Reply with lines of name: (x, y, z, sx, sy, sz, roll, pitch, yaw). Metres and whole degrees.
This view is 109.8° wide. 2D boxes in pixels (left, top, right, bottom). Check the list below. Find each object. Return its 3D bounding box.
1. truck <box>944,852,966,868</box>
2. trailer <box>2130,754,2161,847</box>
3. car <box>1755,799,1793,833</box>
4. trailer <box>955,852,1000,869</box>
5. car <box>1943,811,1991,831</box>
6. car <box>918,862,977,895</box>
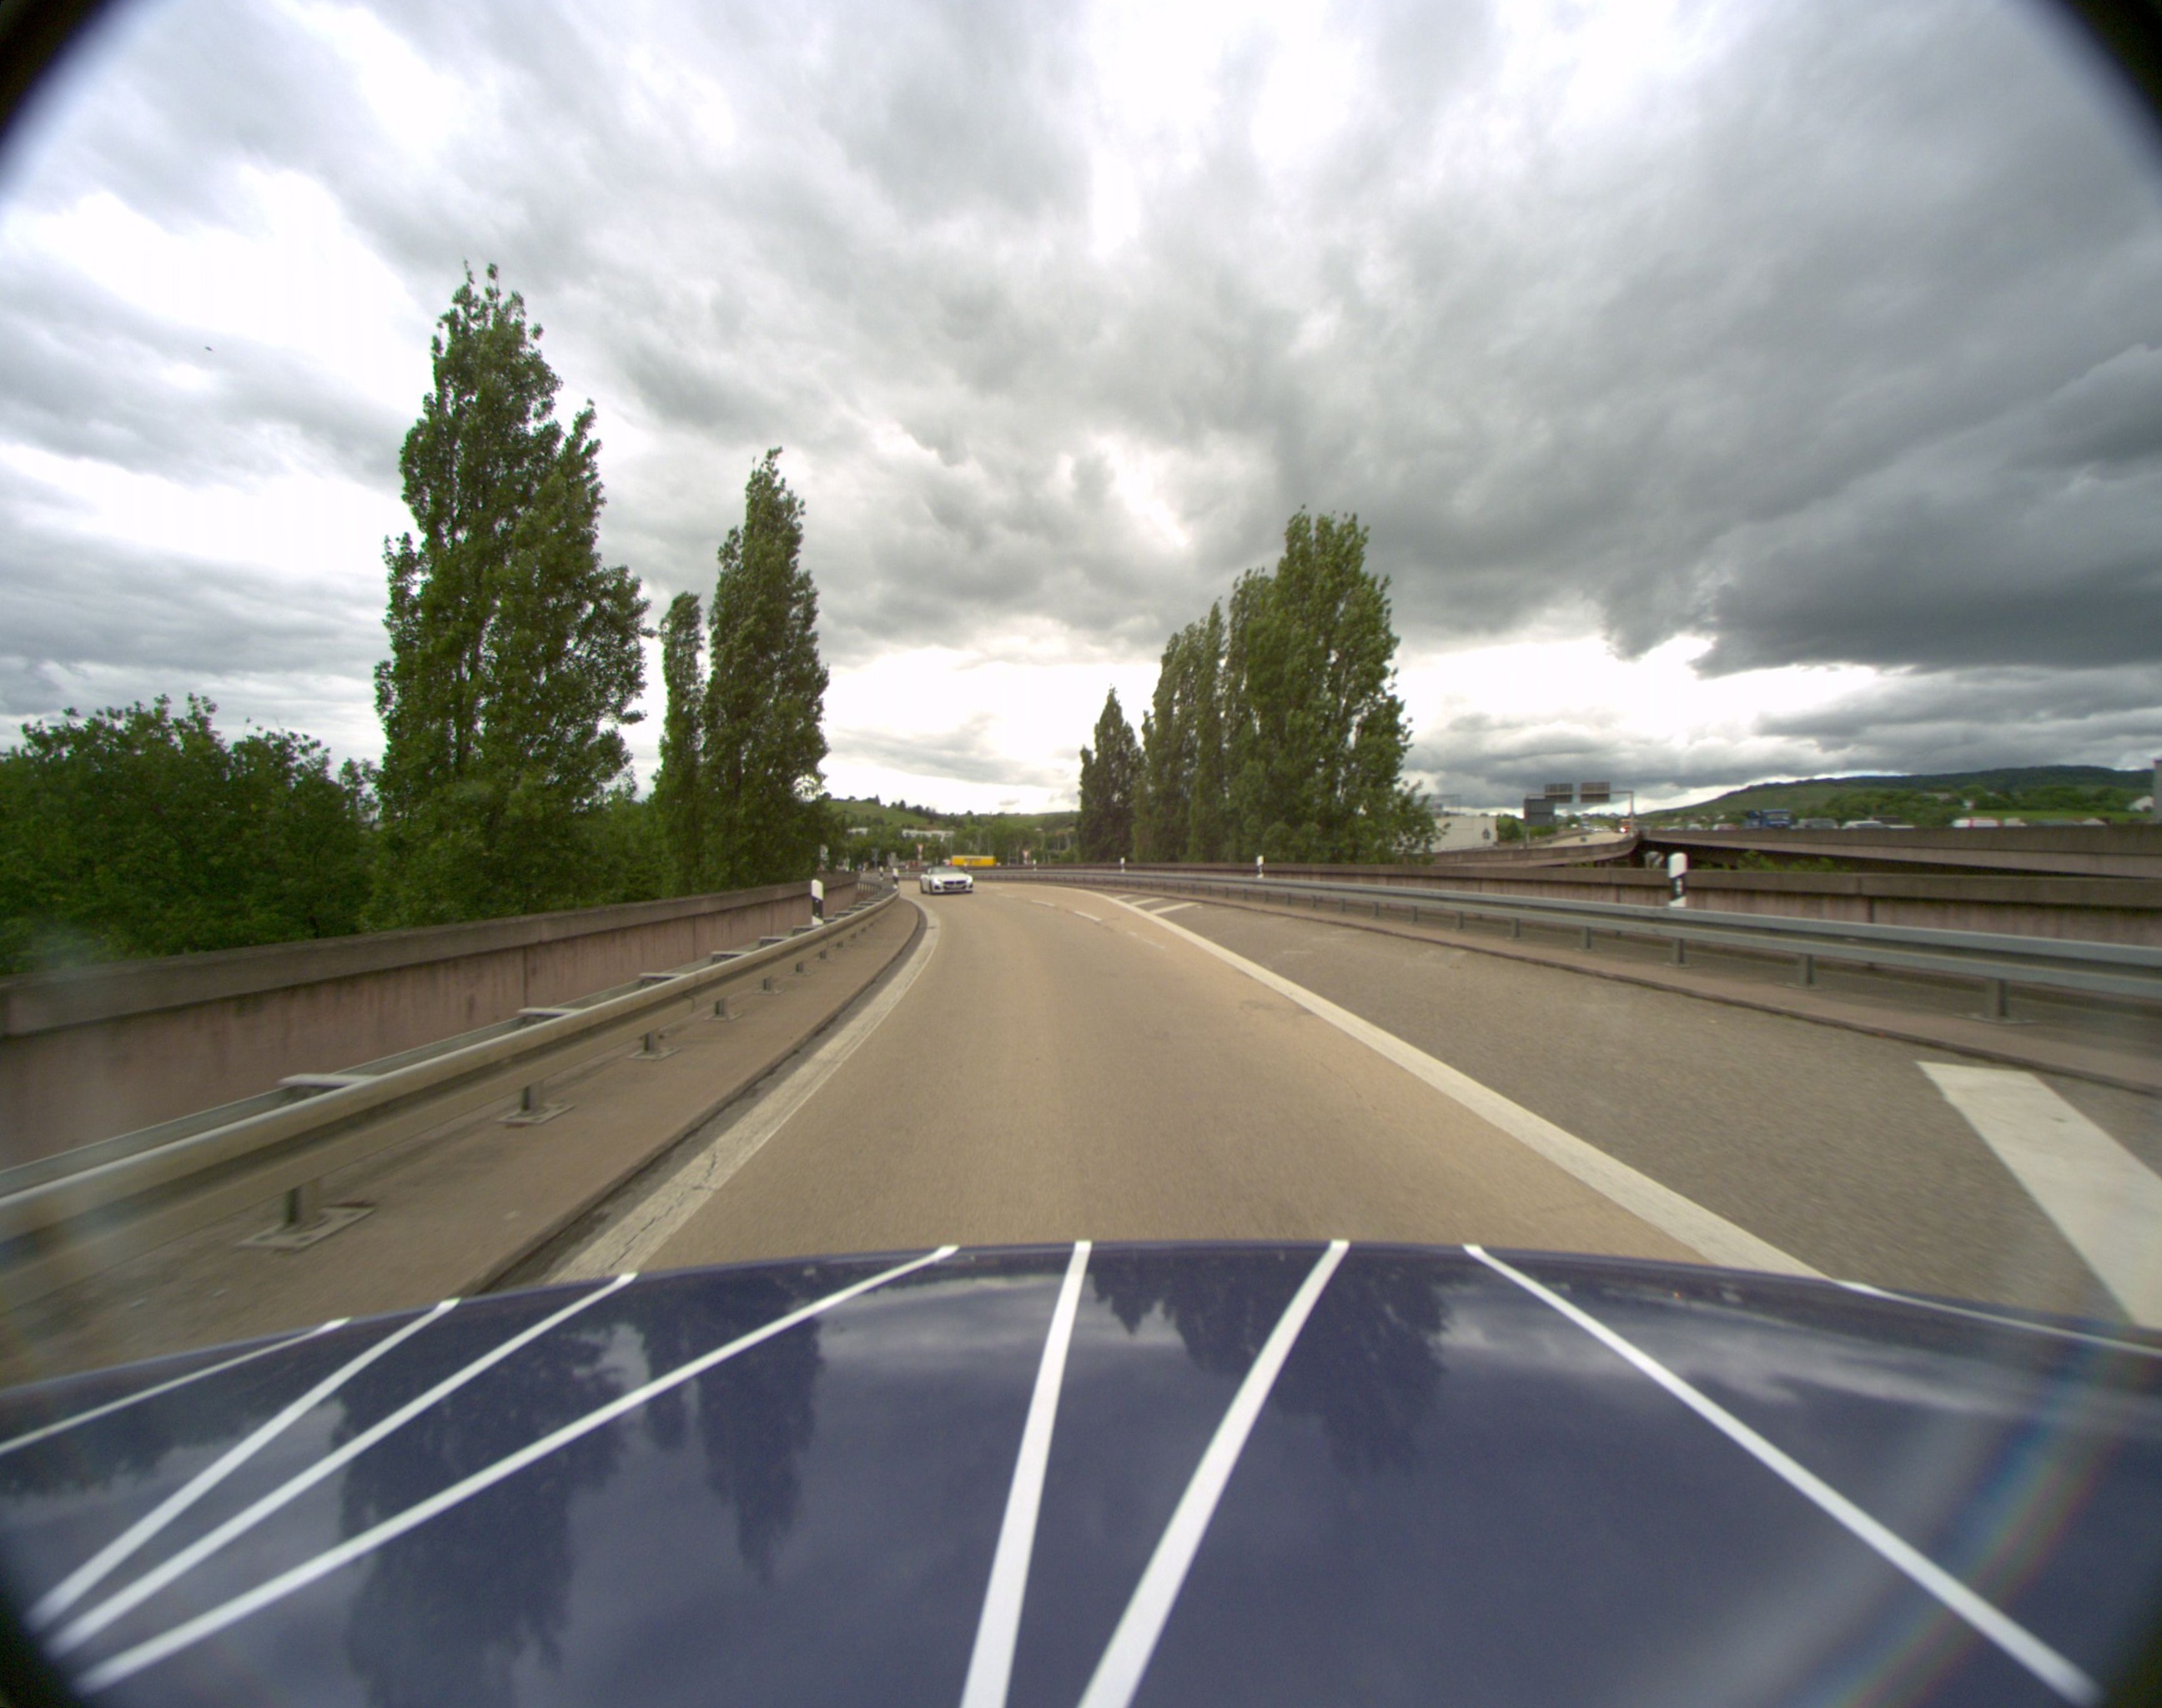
truck: (-33.124, 1.520, 199.485, 5.092, 4.180, 2.638, 1, 2, 14)
trailer: (44.856, -2.179, 27.340, 2.858, 3.988, 13.997, -2, 1, 30)
car: (82.324, -4.447, 90.354, 2.360, 3.639, 4.808, -4, -1, 32)
trailer: (-26.997, 1.592, 197.914, 11.634, 4.180, 2.638, 0, 1, 14)
car: (79.127, -2.931, 67.904, 1.684, 1.509, 3.657, -4, -1, 32)
car: (-6.263, 1.060, 35.215, 1.866, 1.337, 4.816, -2, 0, -20)
